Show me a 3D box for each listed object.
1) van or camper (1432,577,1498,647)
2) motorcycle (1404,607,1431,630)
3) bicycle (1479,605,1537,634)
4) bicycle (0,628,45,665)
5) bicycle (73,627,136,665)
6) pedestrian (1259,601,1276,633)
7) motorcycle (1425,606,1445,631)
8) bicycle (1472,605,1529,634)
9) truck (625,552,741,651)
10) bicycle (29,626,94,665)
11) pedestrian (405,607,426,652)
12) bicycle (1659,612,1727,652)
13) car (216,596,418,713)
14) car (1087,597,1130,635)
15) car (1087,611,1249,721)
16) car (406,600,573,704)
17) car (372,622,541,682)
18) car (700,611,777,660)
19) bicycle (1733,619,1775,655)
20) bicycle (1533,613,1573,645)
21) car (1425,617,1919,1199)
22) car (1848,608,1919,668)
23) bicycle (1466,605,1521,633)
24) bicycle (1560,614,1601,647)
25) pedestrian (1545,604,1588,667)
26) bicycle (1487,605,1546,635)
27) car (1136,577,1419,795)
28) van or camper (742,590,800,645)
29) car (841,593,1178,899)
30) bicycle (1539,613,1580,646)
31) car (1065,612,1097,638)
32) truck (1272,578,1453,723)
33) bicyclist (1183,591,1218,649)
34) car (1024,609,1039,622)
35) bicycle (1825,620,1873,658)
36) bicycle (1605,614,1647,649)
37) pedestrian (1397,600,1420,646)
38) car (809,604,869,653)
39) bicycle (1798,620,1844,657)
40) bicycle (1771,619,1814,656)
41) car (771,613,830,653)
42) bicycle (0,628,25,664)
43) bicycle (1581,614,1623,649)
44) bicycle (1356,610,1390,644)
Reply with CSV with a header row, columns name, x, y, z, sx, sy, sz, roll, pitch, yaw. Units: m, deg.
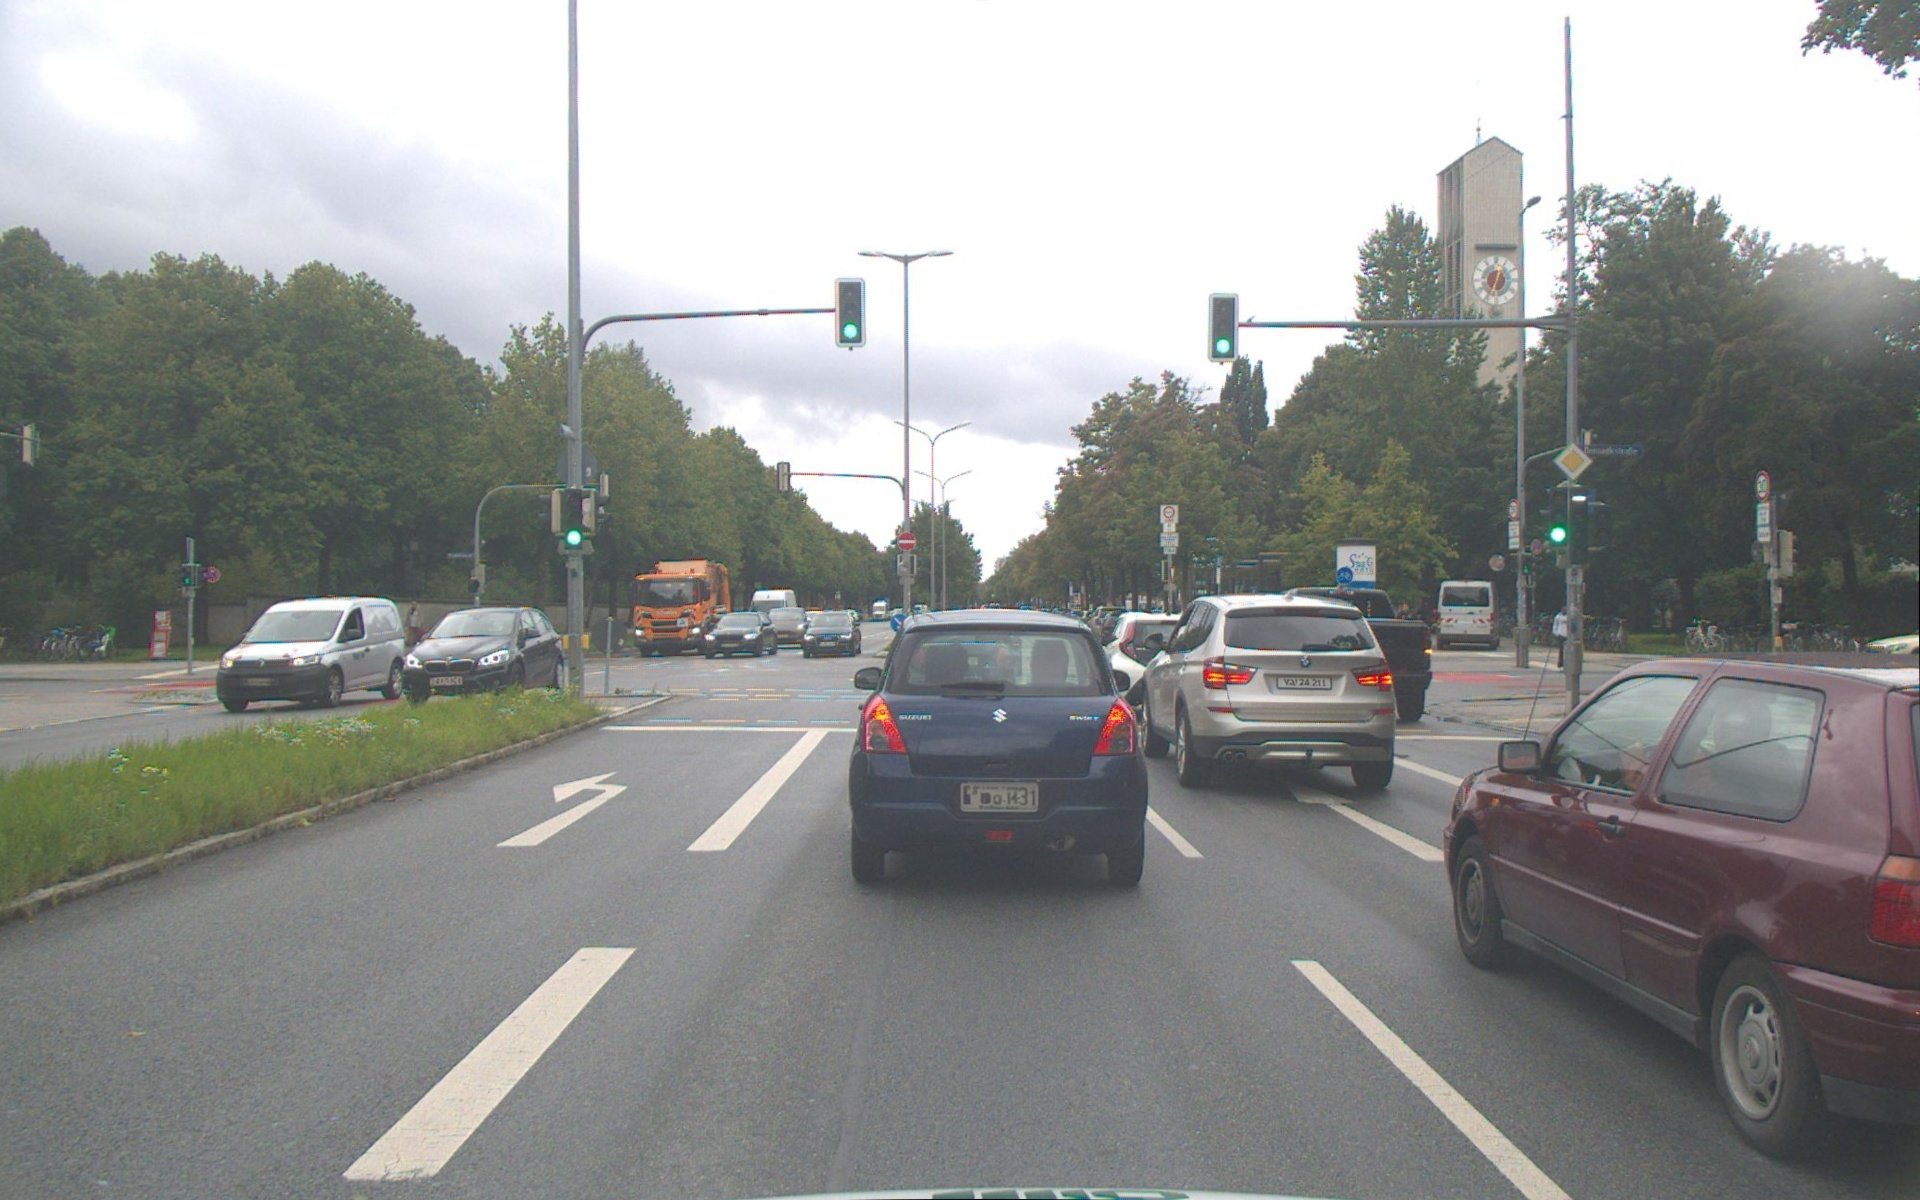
name,x,y,z,sx,sy,sz,roll,pitch,yaw
van or camper,17.917,0.411,58.559,2.096,2.336,6.202,0,0,18
motorcycle,22.027,0.893,79.614,0.646,1.080,1.805,-1,0,38
bicycle,23.644,0.839,71.373,2.290,1.178,0.529,-3,0,0
bicycle,-31.904,1.561,55.720,0.818,1.207,2.496,0,0,-1
bicycle,-28.419,1.504,54.998,0.818,1.207,2.496,0,0,-1
pedestrian,14.898,0.825,80.188,0.569,1.540,0.691,0,-1,-18
motorcycle,22.708,0.888,79.030,0.643,1.198,1.812,-1,0,26
bicycle,23.921,0.852,73.203,2.290,1.178,0.529,-3,0,0
truck,-10.035,0.082,60.720,2.722,3.415,7.268,0,-1,3
bicycle,-29.760,1.492,54.851,0.818,1.207,2.496,0,0,-1
pedestrian,-21.449,1.156,65.169,0.693,1.771,0.517,0,-1,-4
bicycle,23.923,1.041,54.047,0.692,1.272,2.097,0,0,-25
car,-10.878,0.871,28.332,1.743,1.843,4.430,0,0,0
car,7.131,0.758,79.893,1.711,1.754,4.906,1,0,1
car,2.965,0.899,24.376,1.812,1.472,4.097,0,0,-1
car,-7.755,0.815,27.657,1.664,1.597,4.290,0,0,-2
car,-14.350,1.475,47.334,1.893,1.487,4.350,-3,0,35
car,-7.332,1.141,55.230,1.887,1.487,4.898,-2,0,0
bicycle,25.259,1.157,52.667,0.595,1.114,2.116,0,0,8
bicycle,22.256,1.091,62.041,0.705,1.174,2.117,-1,-1,40
car,3.023,0.811,5.967,1.589,1.479,3.949,0,0,0
car,25.730,0.971,43.072,4.214,1.523,1.886,0,0,-3
bicycle,24.131,0.863,74.842,2.290,1.178,0.529,-3,0,0
bicycle,22.449,1.084,59.794,0.705,1.174,2.117,-1,-1,40
pedestrian,16.975,0.992,46.298,0.745,1.733,0.937,0,-1,-9
bicycle,23.657,0.835,70.316,2.290,1.178,0.529,-3,0,0
car,2.815,0.712,15.570,1.812,1.773,4.097,0,0,-1
van or camper,-9.832,0.891,86.572,2.133,2.693,6.951,-2,0,0
car,0.229,0.770,10.612,1.752,1.583,3.999,0,0,-1
bicycle,21.877,1.077,60.342,0.705,1.174,2.117,-1,-1,40
car,7.418,1.527,101.888,1.682,1.535,4.223,0,0,1
truck,6.252,0.739,26.389,2.054,2.049,5.816,0,0,6
bicyclist,7.530,0.616,51.820,0.818,1.795,0.737,0,-1,-35
car,8.581,1.843,198.362,1.649,1.552,4.456,1,0,2
bicycle,27.257,1.179,50.732,0.595,1.114,2.116,0,0,8
bicycle,22.892,1.076,56.899,0.682,1.174,2.129,0,0,3
pedestrian,15.313,0.779,56.461,0.676,1.565,0.737,-1,-1,20
car,-3.860,0.897,53.203,1.605,1.513,3.781,0,0,1
bicycle,26.676,1.171,51.254,0.595,1.114,2.116,0,0,8
bicycle,25.944,1.157,51.559,0.595,1.114,2.116,0,0,10
car,-6.383,1.302,66.711,1.824,1.569,4.750,0,0,1
bicycle,-33.476,1.591,57.096,0.818,1.207,2.883,0,0,-1
bicycle,22.083,1.078,56.914,0.701,1.174,2.129,0,0,3
bicycle,15.121,0.978,60.625,0.843,1.219,2.001,-2,-1,5
